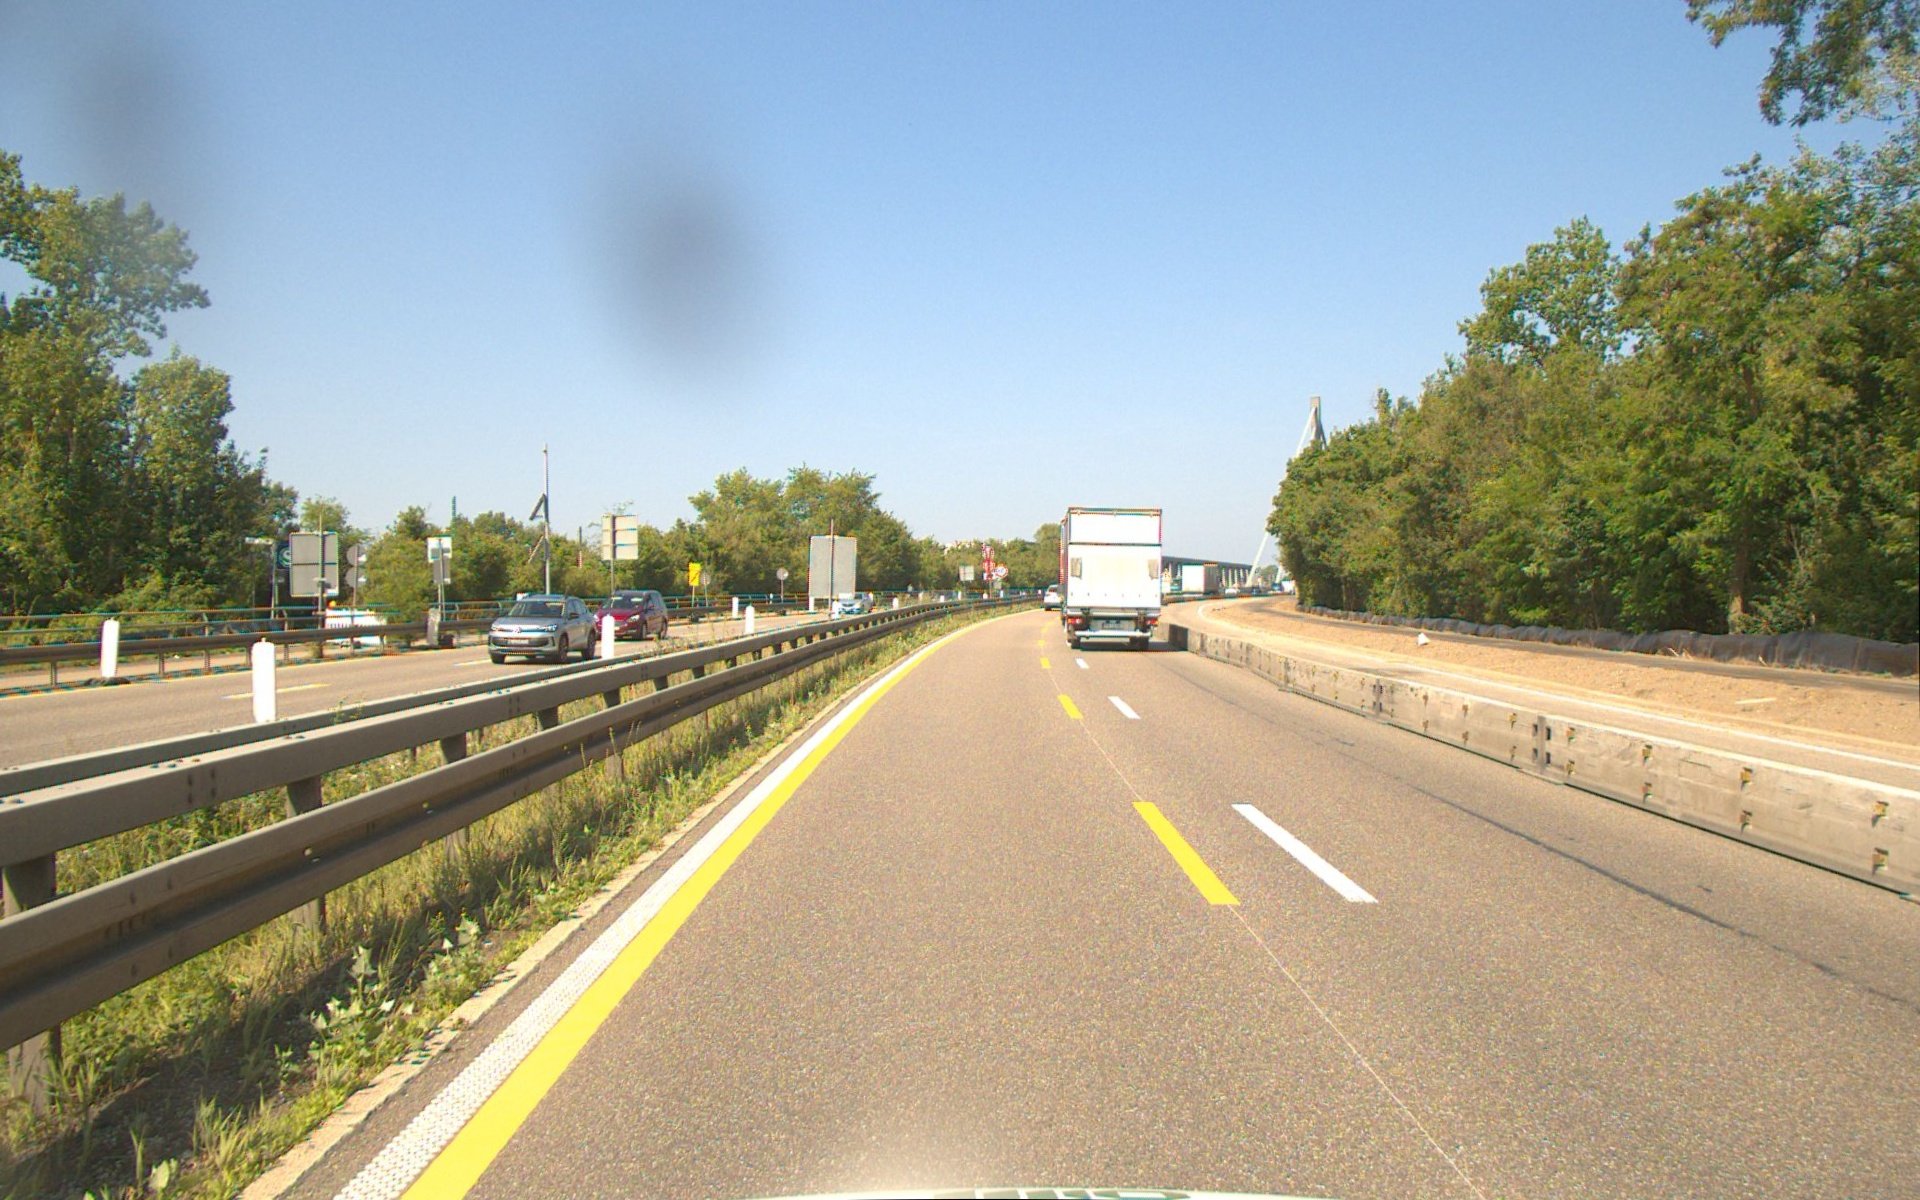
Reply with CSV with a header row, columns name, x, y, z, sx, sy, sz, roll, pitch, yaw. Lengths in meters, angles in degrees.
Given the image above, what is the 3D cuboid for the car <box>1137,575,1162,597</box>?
name,x,y,z,sx,sy,sz,roll,pitch,yaw
car,18.182,-1.357,158.562,1.951,2.048,4.004,-2,1,10

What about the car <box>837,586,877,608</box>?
name,x,y,z,sx,sy,sz,roll,pitch,yaw
car,-7.073,-0.214,114.013,1.844,1.445,4.863,-1,0,8

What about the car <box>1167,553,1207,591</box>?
name,x,y,z,sx,sy,sz,roll,pitch,yaw
car,27.364,-3.392,198.555,4.117,4.325,10.672,-2,1,11

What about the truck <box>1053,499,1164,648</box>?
name,x,y,z,sx,sy,sz,roll,pitch,yaw
truck,3.828,-0.679,42.805,2.579,3.487,7.237,1,1,5

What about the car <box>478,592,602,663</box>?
name,x,y,z,sx,sy,sz,roll,pitch,yaw
car,-10.771,0.659,42.761,1.869,1.679,4.378,1,1,3

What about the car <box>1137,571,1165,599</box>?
name,x,y,z,sx,sy,sz,roll,pitch,yaw
car,14.902,-1.183,129.128,1.951,2.048,4.003,-2,1,5

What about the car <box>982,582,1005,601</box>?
name,x,y,z,sx,sy,sz,roll,pitch,yaw
car,2.867,-0.743,140.011,1.701,1.524,4.002,-1,0,4

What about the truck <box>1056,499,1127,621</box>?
name,x,y,z,sx,sy,sz,roll,pitch,yaw
truck,5.166,-1.539,65.427,2.579,4.546,7.237,1,1,4

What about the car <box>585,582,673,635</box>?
name,x,y,z,sx,sy,sz,roll,pitch,yaw
car,-11.883,0.273,59.657,1.869,1.765,5.022,-2,1,3

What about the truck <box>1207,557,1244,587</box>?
name,x,y,z,sx,sy,sz,roll,pitch,yaw
truck,40.362,-4.289,251.082,4.131,4.340,10.248,-2,1,17
